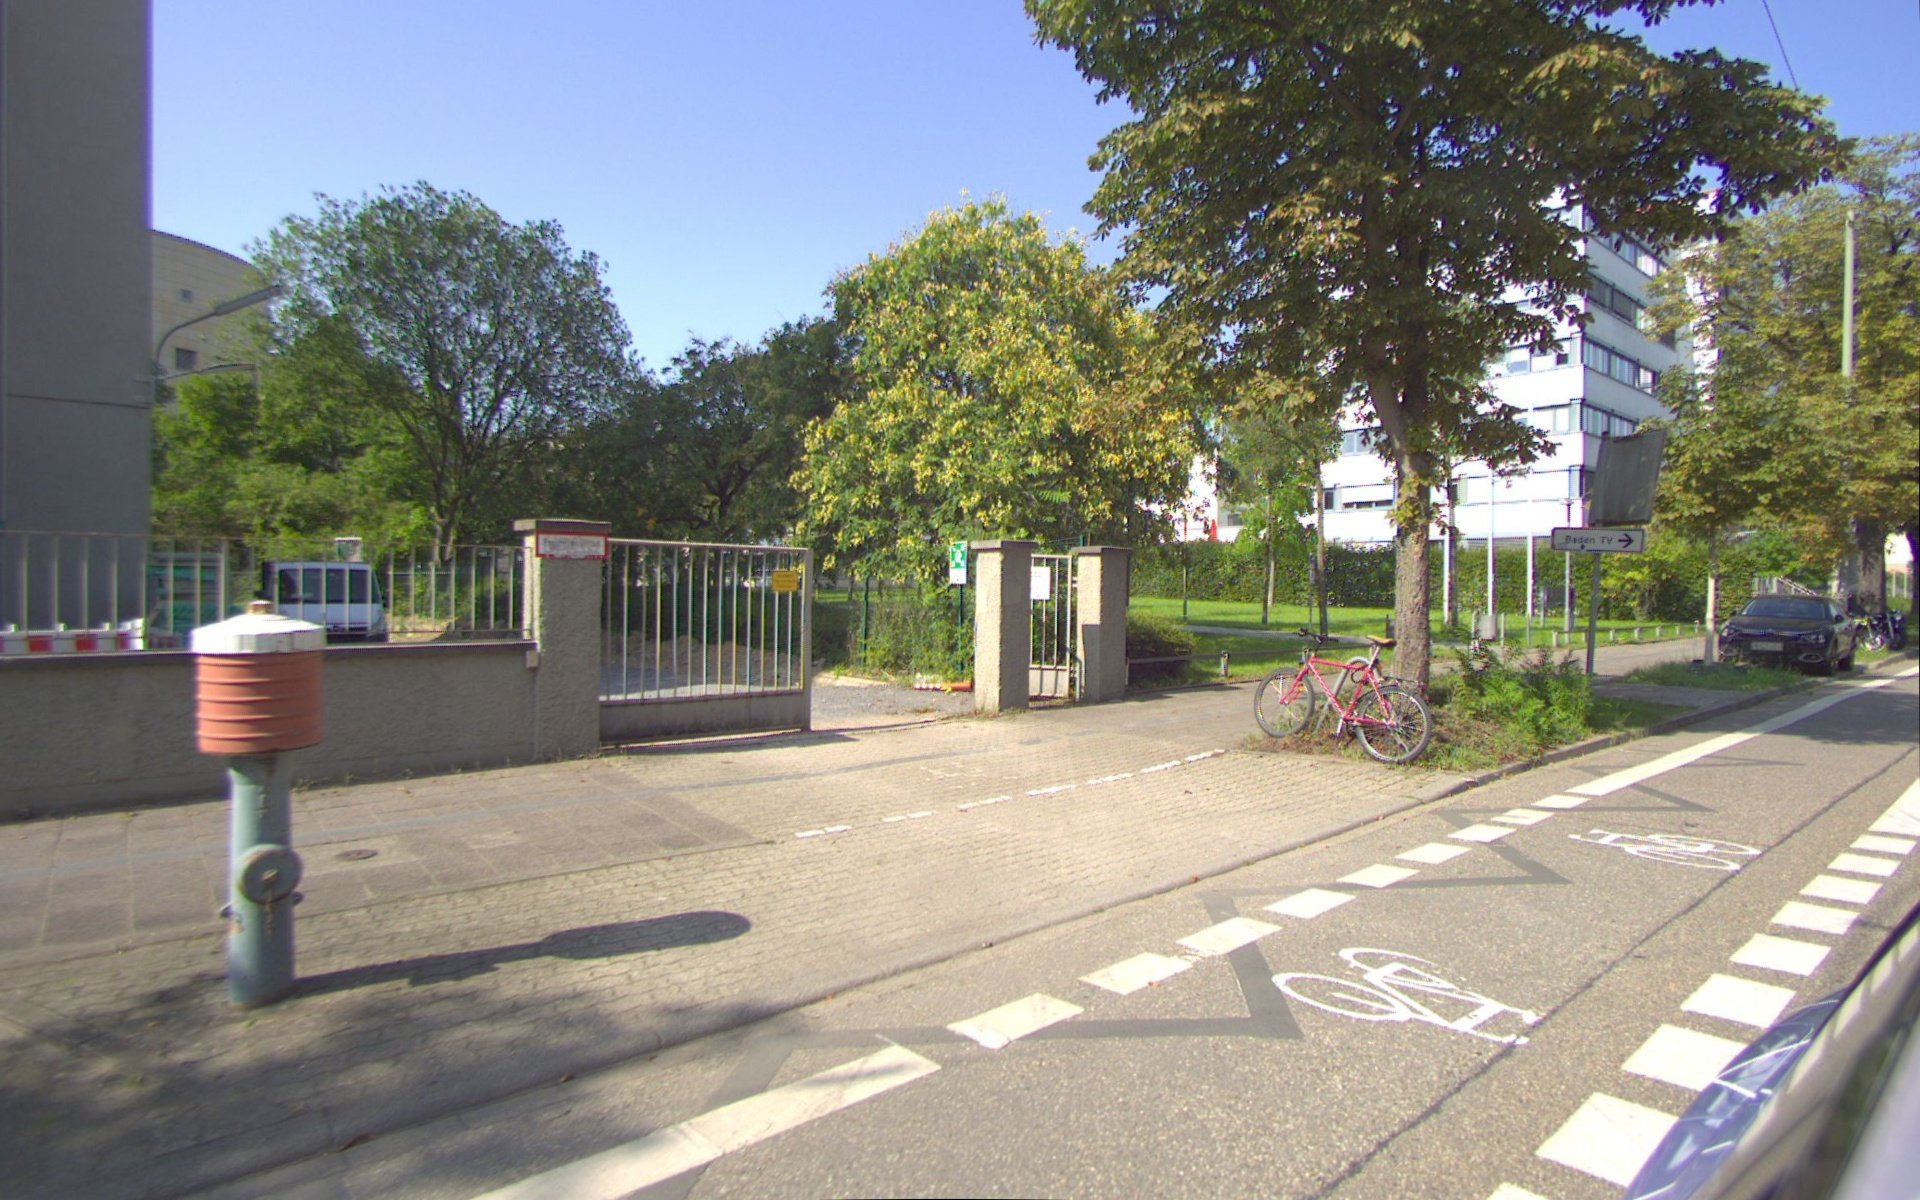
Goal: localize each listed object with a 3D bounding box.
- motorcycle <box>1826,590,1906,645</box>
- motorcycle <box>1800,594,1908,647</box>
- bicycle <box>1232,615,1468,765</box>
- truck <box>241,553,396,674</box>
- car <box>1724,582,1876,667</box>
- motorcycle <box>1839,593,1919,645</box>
[{"bbox_3d":[23.925,0.427,26.773,0.834,1.343,2.054,2,2,20],"label":"motorcycle"},{"bbox_3d":[22.246,0.491,25.236,0.632,1.240,1.993,0,1,-15],"label":"motorcycle"},{"bbox_3d":[3.416,0.733,8.983,0.783,1.077,1.772,-1,3,-42],"label":"bicycle"},{"bbox_3d":[-14.151,0.194,22.090,2.083,2.243,6.581,-1,1,-39],"label":"truck"},{"bbox_3d":[17.093,0.433,20.518,4.361,1.504,1.744,0,2,-42],"label":"car"},{"bbox_3d":[25.132,0.492,27.349,0.828,1.258,2.069,1,2,-2],"label":"motorcycle"}]
